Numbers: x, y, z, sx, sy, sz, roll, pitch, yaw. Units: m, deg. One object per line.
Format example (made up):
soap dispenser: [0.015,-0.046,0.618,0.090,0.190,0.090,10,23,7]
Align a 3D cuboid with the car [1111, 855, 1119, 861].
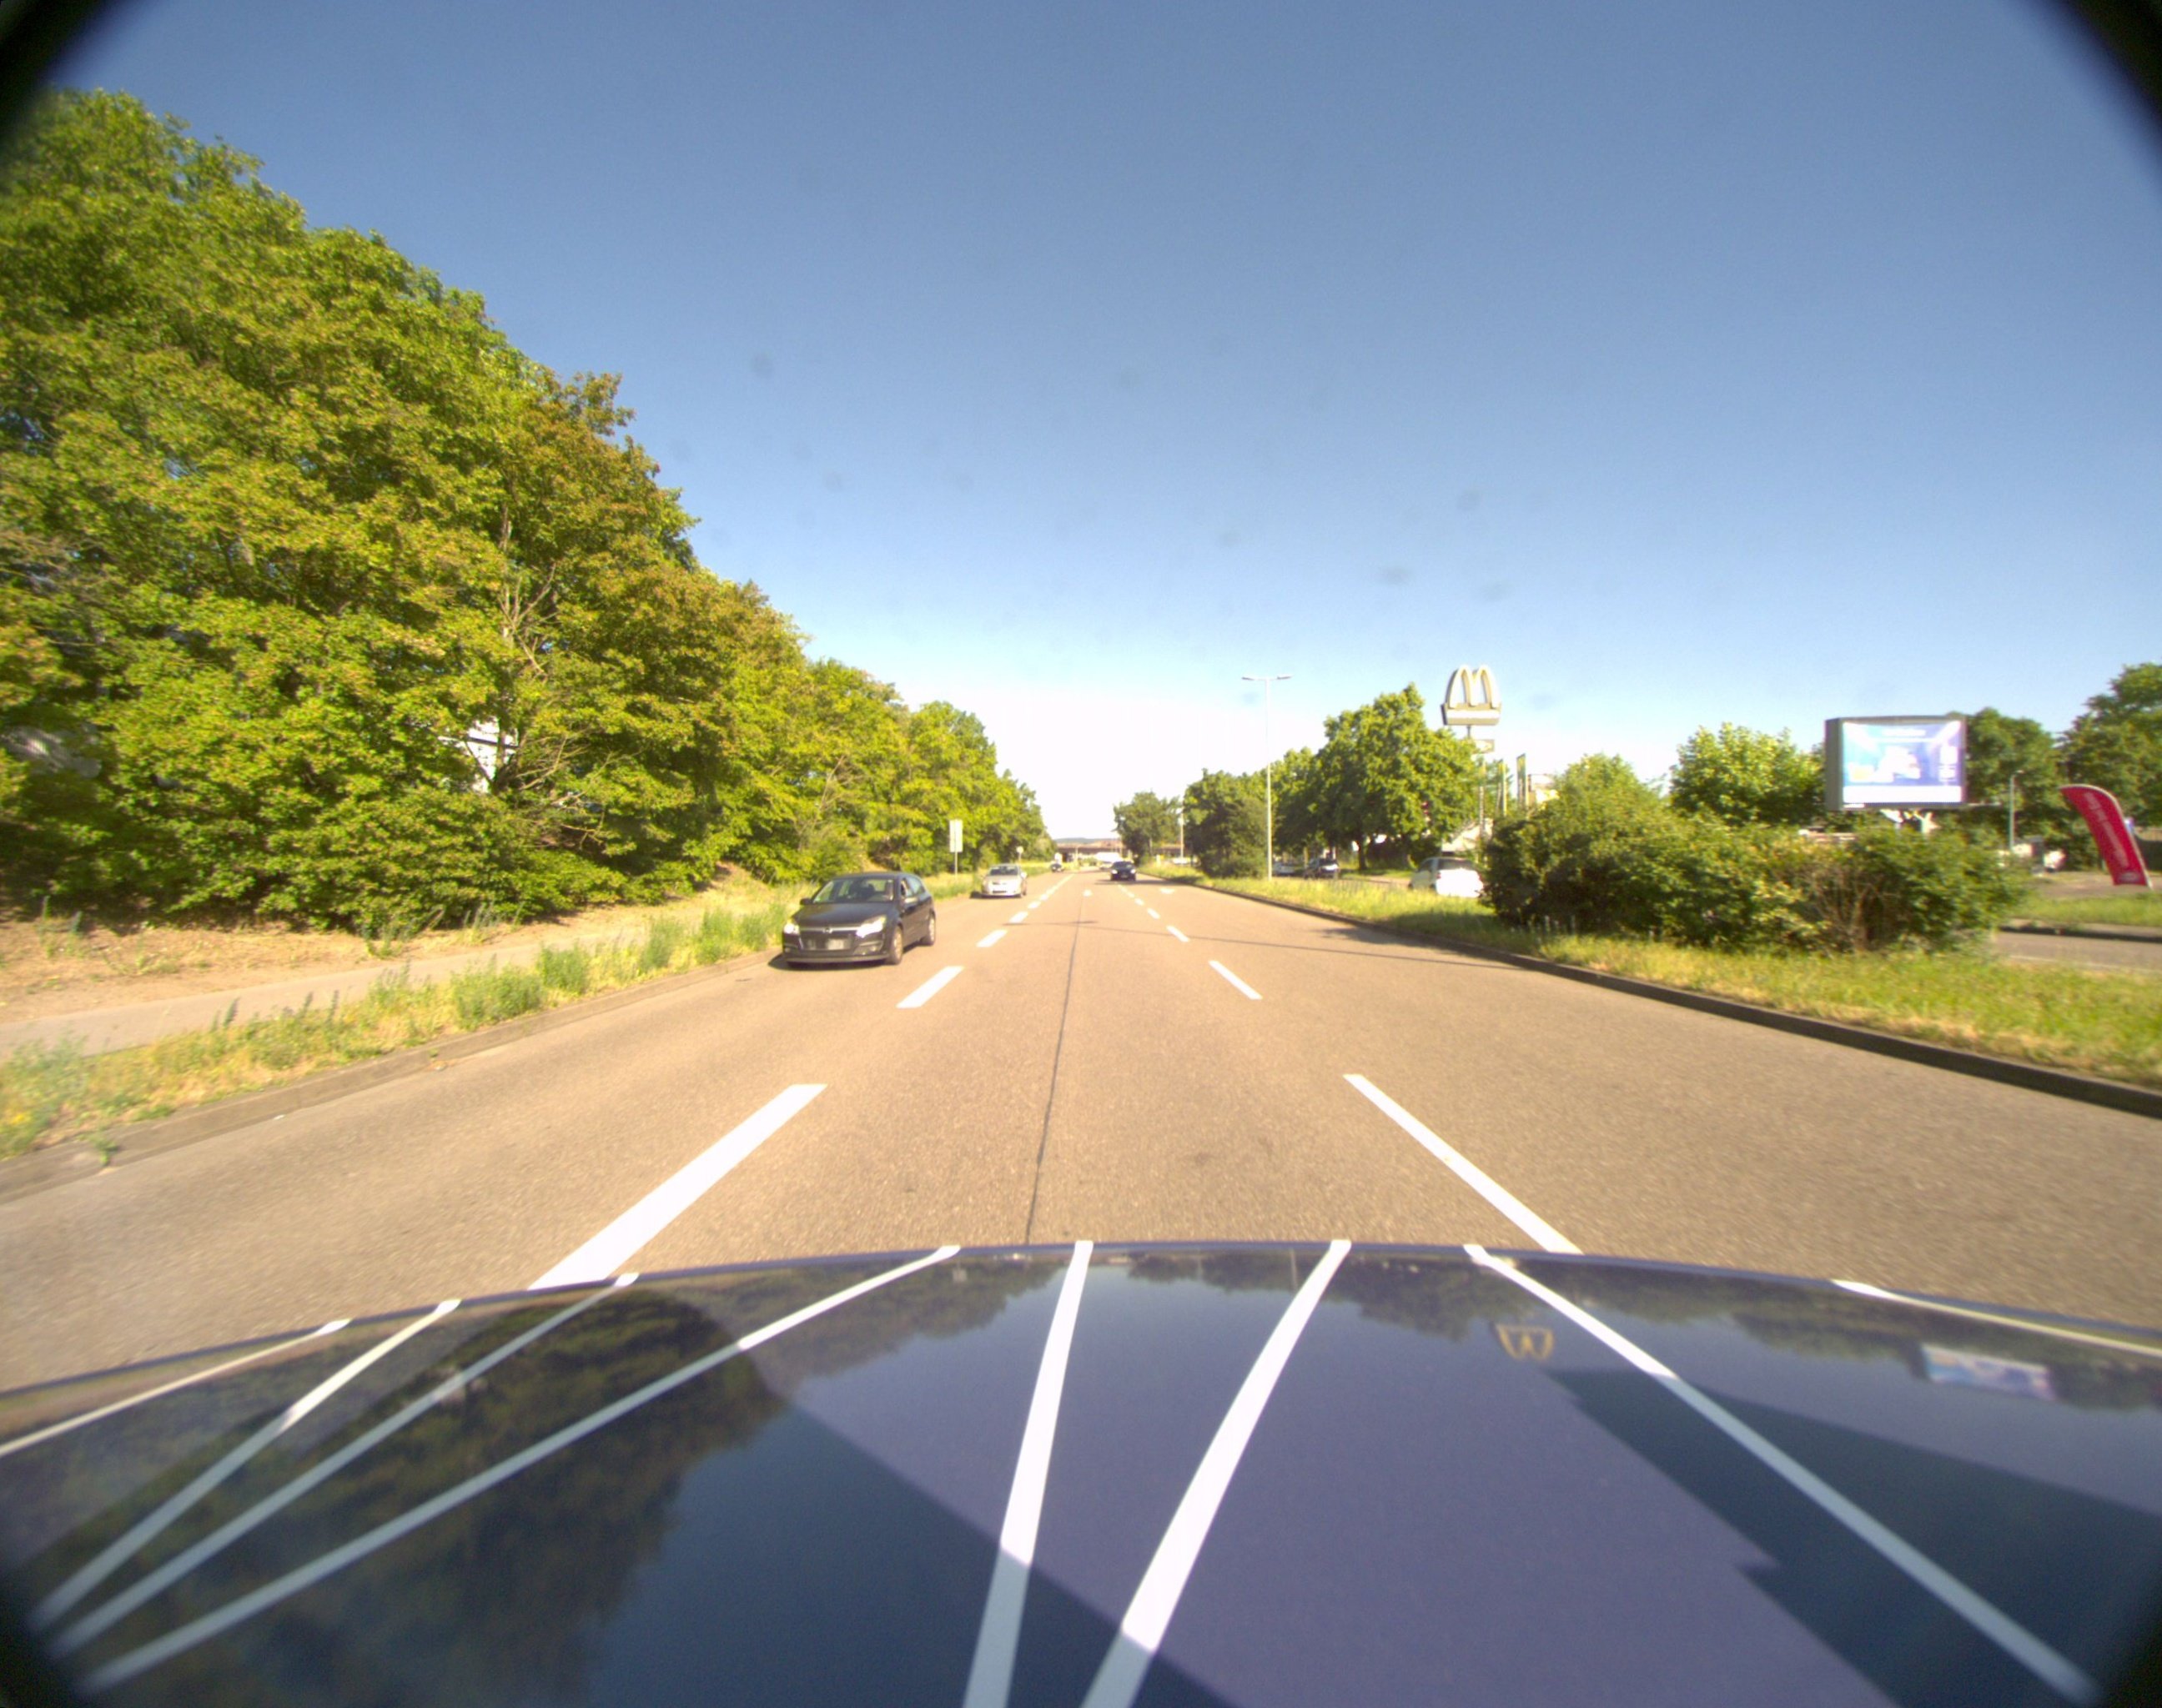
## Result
car: [8.292,0.875,185.555,1.998,1.433,4.000,-1,0,1]

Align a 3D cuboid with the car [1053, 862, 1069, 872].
car: [-3.371,2.176,127.159,2.038,1.601,4.094,-2,0,-11]

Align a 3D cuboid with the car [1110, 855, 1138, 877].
car: [3.226,0.866,57.508,1.788,1.592,4.583,-1,0,0]

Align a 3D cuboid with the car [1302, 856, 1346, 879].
car: [19.564,1.073,61.339,1.998,1.619,4.771,-2,1,1]

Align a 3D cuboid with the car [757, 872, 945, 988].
car: [-3.588,1.114,12.773,1.738,1.433,4.371,-2,0,1]

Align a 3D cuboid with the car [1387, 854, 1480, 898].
car: [12.415,0.725,26.991,1.572,1.346,3.706,-2,1,1]

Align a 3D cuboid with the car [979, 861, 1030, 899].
car: [-3.375,1.132,34.220,1.788,1.528,4.108,-2,0,1]

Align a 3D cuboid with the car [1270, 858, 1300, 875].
car: [20.982,1.291,78.235,1.998,1.542,4.142,-2,1,1]

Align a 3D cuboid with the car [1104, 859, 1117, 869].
car: [4.928,1.650,126.396,2.025,1.601,4.098,-2,0,1]
